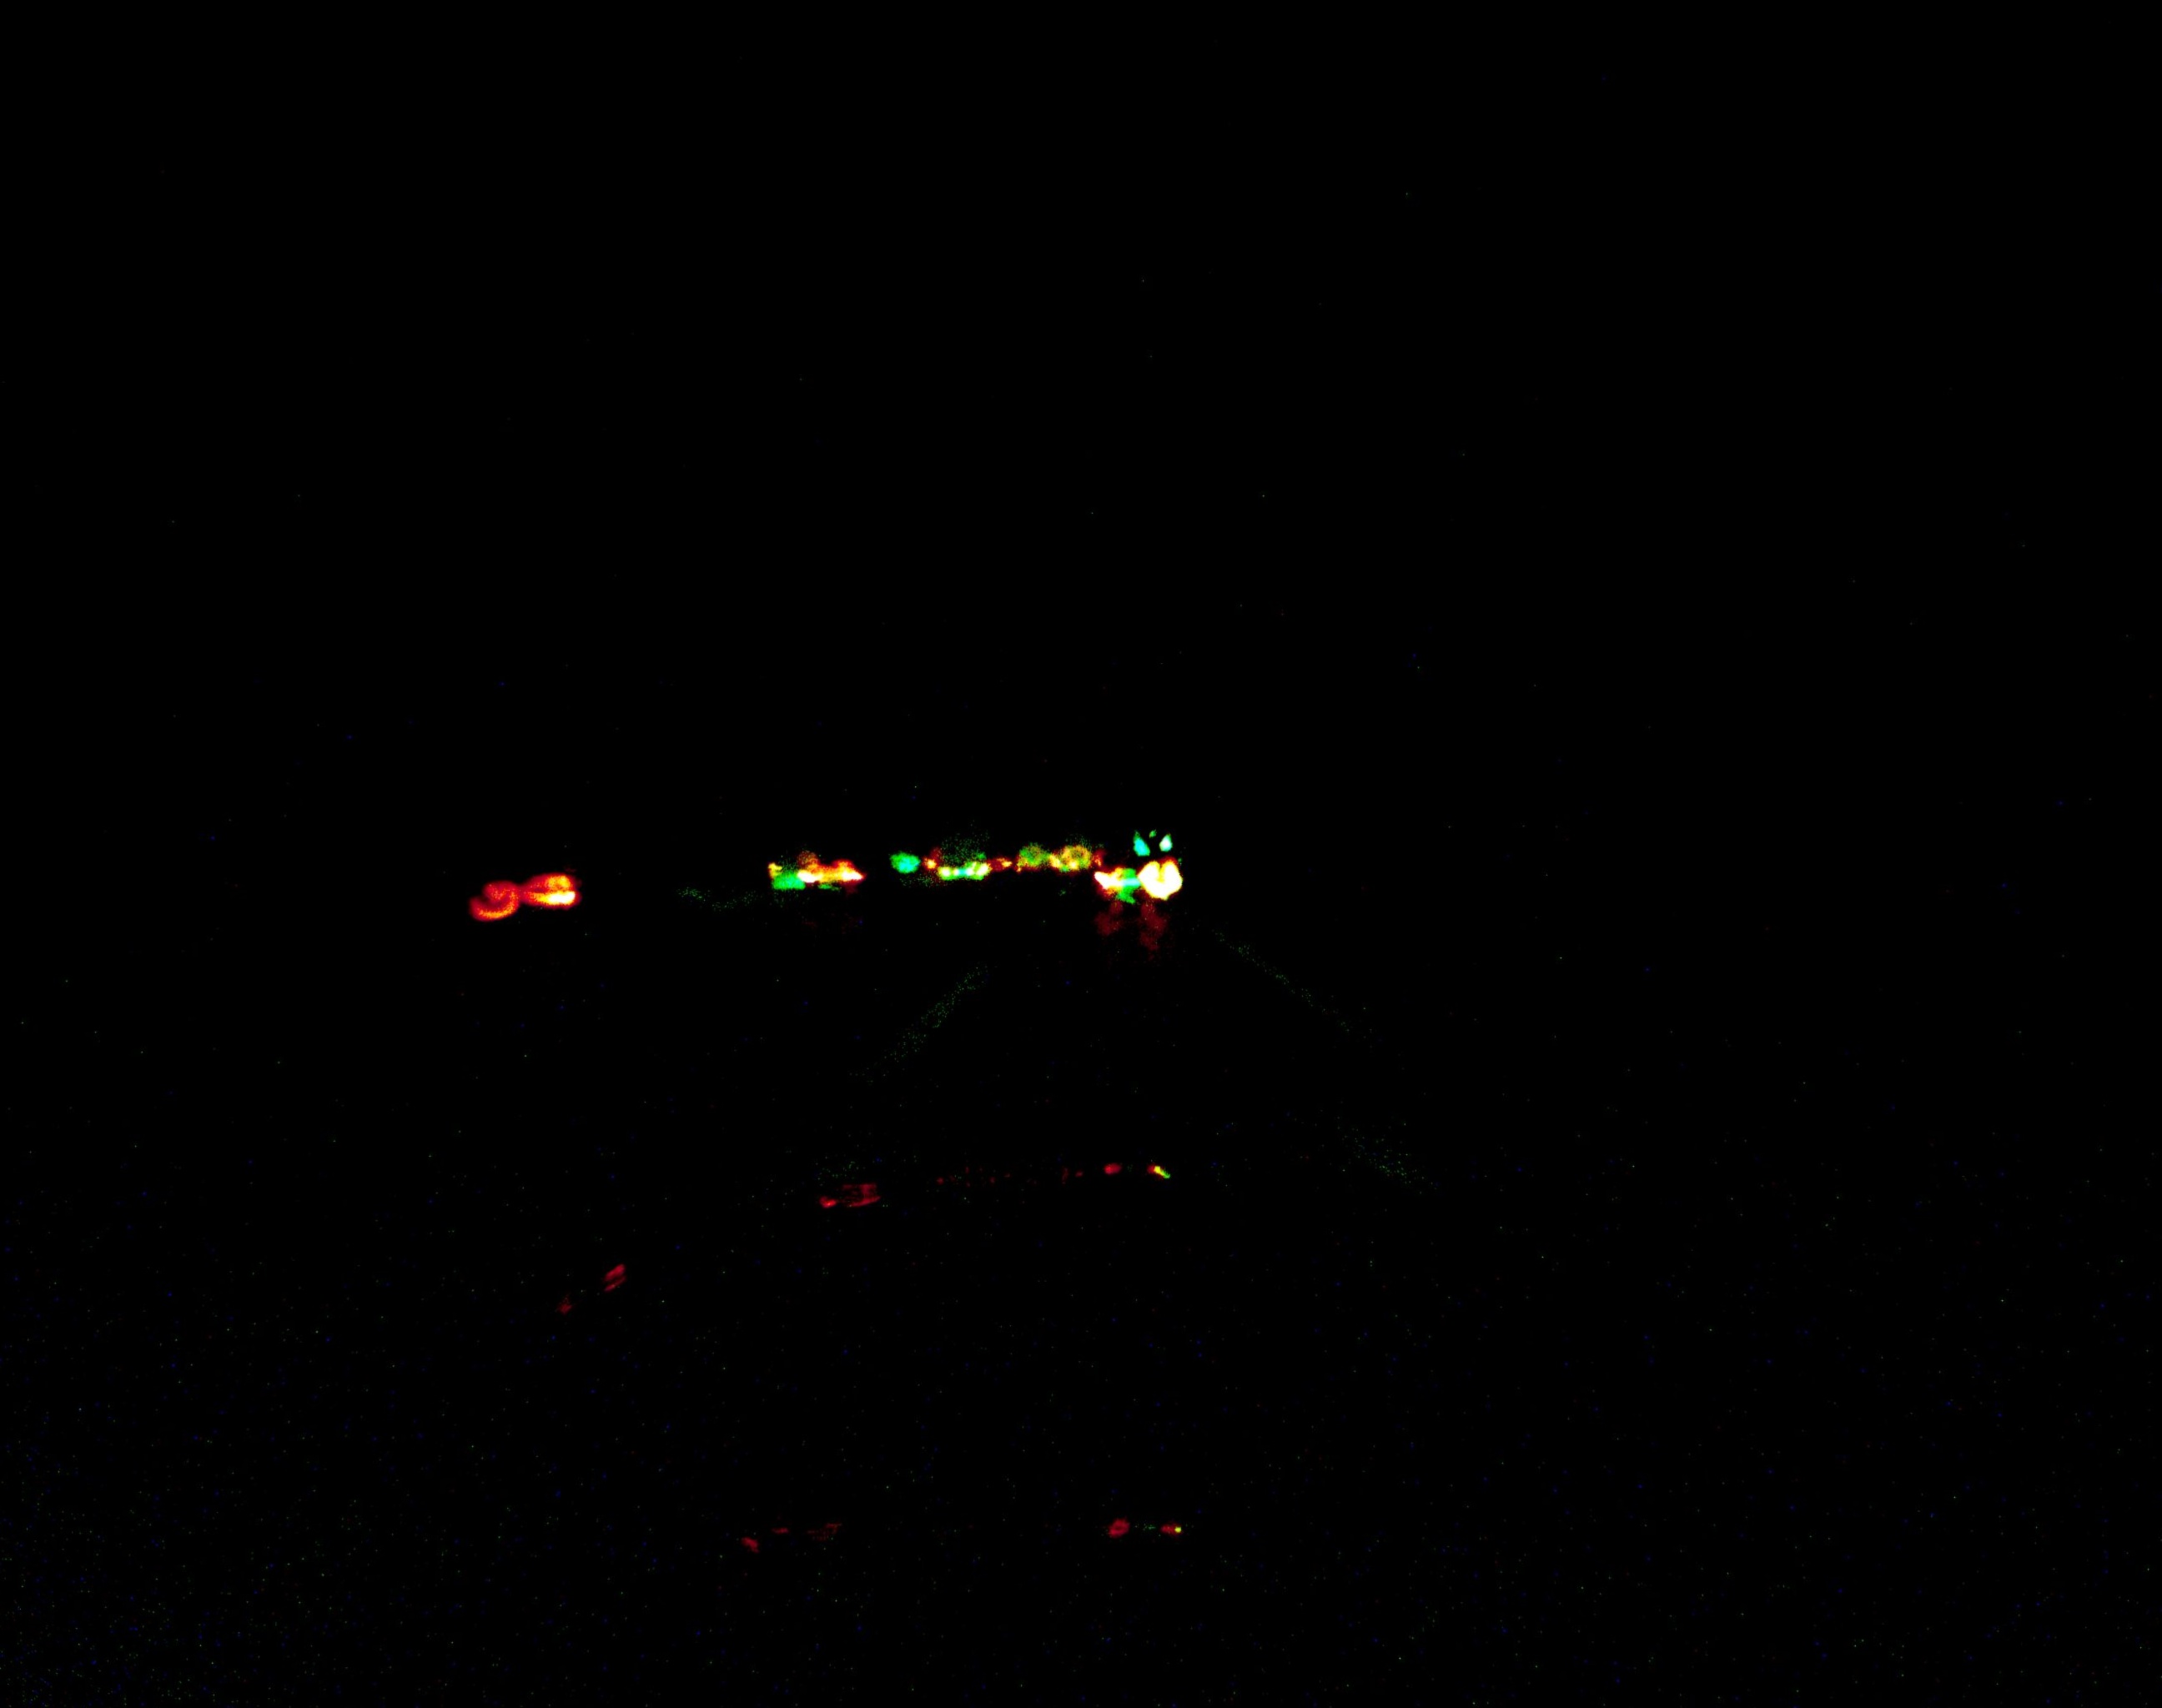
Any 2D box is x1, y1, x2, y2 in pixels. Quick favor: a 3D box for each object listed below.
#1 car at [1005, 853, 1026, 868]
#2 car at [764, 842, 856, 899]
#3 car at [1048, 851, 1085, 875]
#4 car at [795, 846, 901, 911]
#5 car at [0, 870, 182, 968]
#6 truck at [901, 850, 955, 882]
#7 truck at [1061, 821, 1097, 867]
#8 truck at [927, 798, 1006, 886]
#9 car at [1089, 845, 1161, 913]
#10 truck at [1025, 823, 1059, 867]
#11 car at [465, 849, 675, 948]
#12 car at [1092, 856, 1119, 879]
[{"bbox_3d":[-7.613,0.734,95.137,1.986,1.704,4.460,0,0,2],"label":"car"},{"bbox_3d":[-11.033,0.616,33.610,2.118,2.104,5.624,0,0,-3],"label":"car"},{"bbox_3d":[-1.198,0.757,70.562,2.821,2.014,5.513,0,0,2],"label":"car"},{"bbox_3d":[-6.761,0.665,24.156,2.034,1.761,4.510,0,0,-3],"label":"car"},{"bbox_3d":[-19.306,1.136,14.272,1.889,1.617,4.622,0,0,1],"label":"car"},{"bbox_3d":[-11.046,0.856,59.238,2.849,2.201,5.856,0,0,-1],"label":"truck"},{"bbox_3d":[-0.307,-1.132,97.789,4.149,5.215,9.950,0,0,-1],"label":"truck"},{"bbox_3d":[-6.603,-0.640,48.603,3.647,4.737,9.844,0,0,-2],"label":"truck"},{"bbox_3d":[1.244,0.653,23.136,1.870,1.762,4.003,0,0,3],"label":"car"},{"bbox_3d":[-4.963,-1.054,106.476,4.243,5.444,10.877,0,0,-2],"label":"truck"},{"bbox_3d":[-9.985,0.770,16.335,1.761,1.689,3.997,-1,1,-2],"label":"car"},{"bbox_3d":[1.926,1.024,62.246,1.986,1.704,4.460,0,0,2],"label":"car"}]
